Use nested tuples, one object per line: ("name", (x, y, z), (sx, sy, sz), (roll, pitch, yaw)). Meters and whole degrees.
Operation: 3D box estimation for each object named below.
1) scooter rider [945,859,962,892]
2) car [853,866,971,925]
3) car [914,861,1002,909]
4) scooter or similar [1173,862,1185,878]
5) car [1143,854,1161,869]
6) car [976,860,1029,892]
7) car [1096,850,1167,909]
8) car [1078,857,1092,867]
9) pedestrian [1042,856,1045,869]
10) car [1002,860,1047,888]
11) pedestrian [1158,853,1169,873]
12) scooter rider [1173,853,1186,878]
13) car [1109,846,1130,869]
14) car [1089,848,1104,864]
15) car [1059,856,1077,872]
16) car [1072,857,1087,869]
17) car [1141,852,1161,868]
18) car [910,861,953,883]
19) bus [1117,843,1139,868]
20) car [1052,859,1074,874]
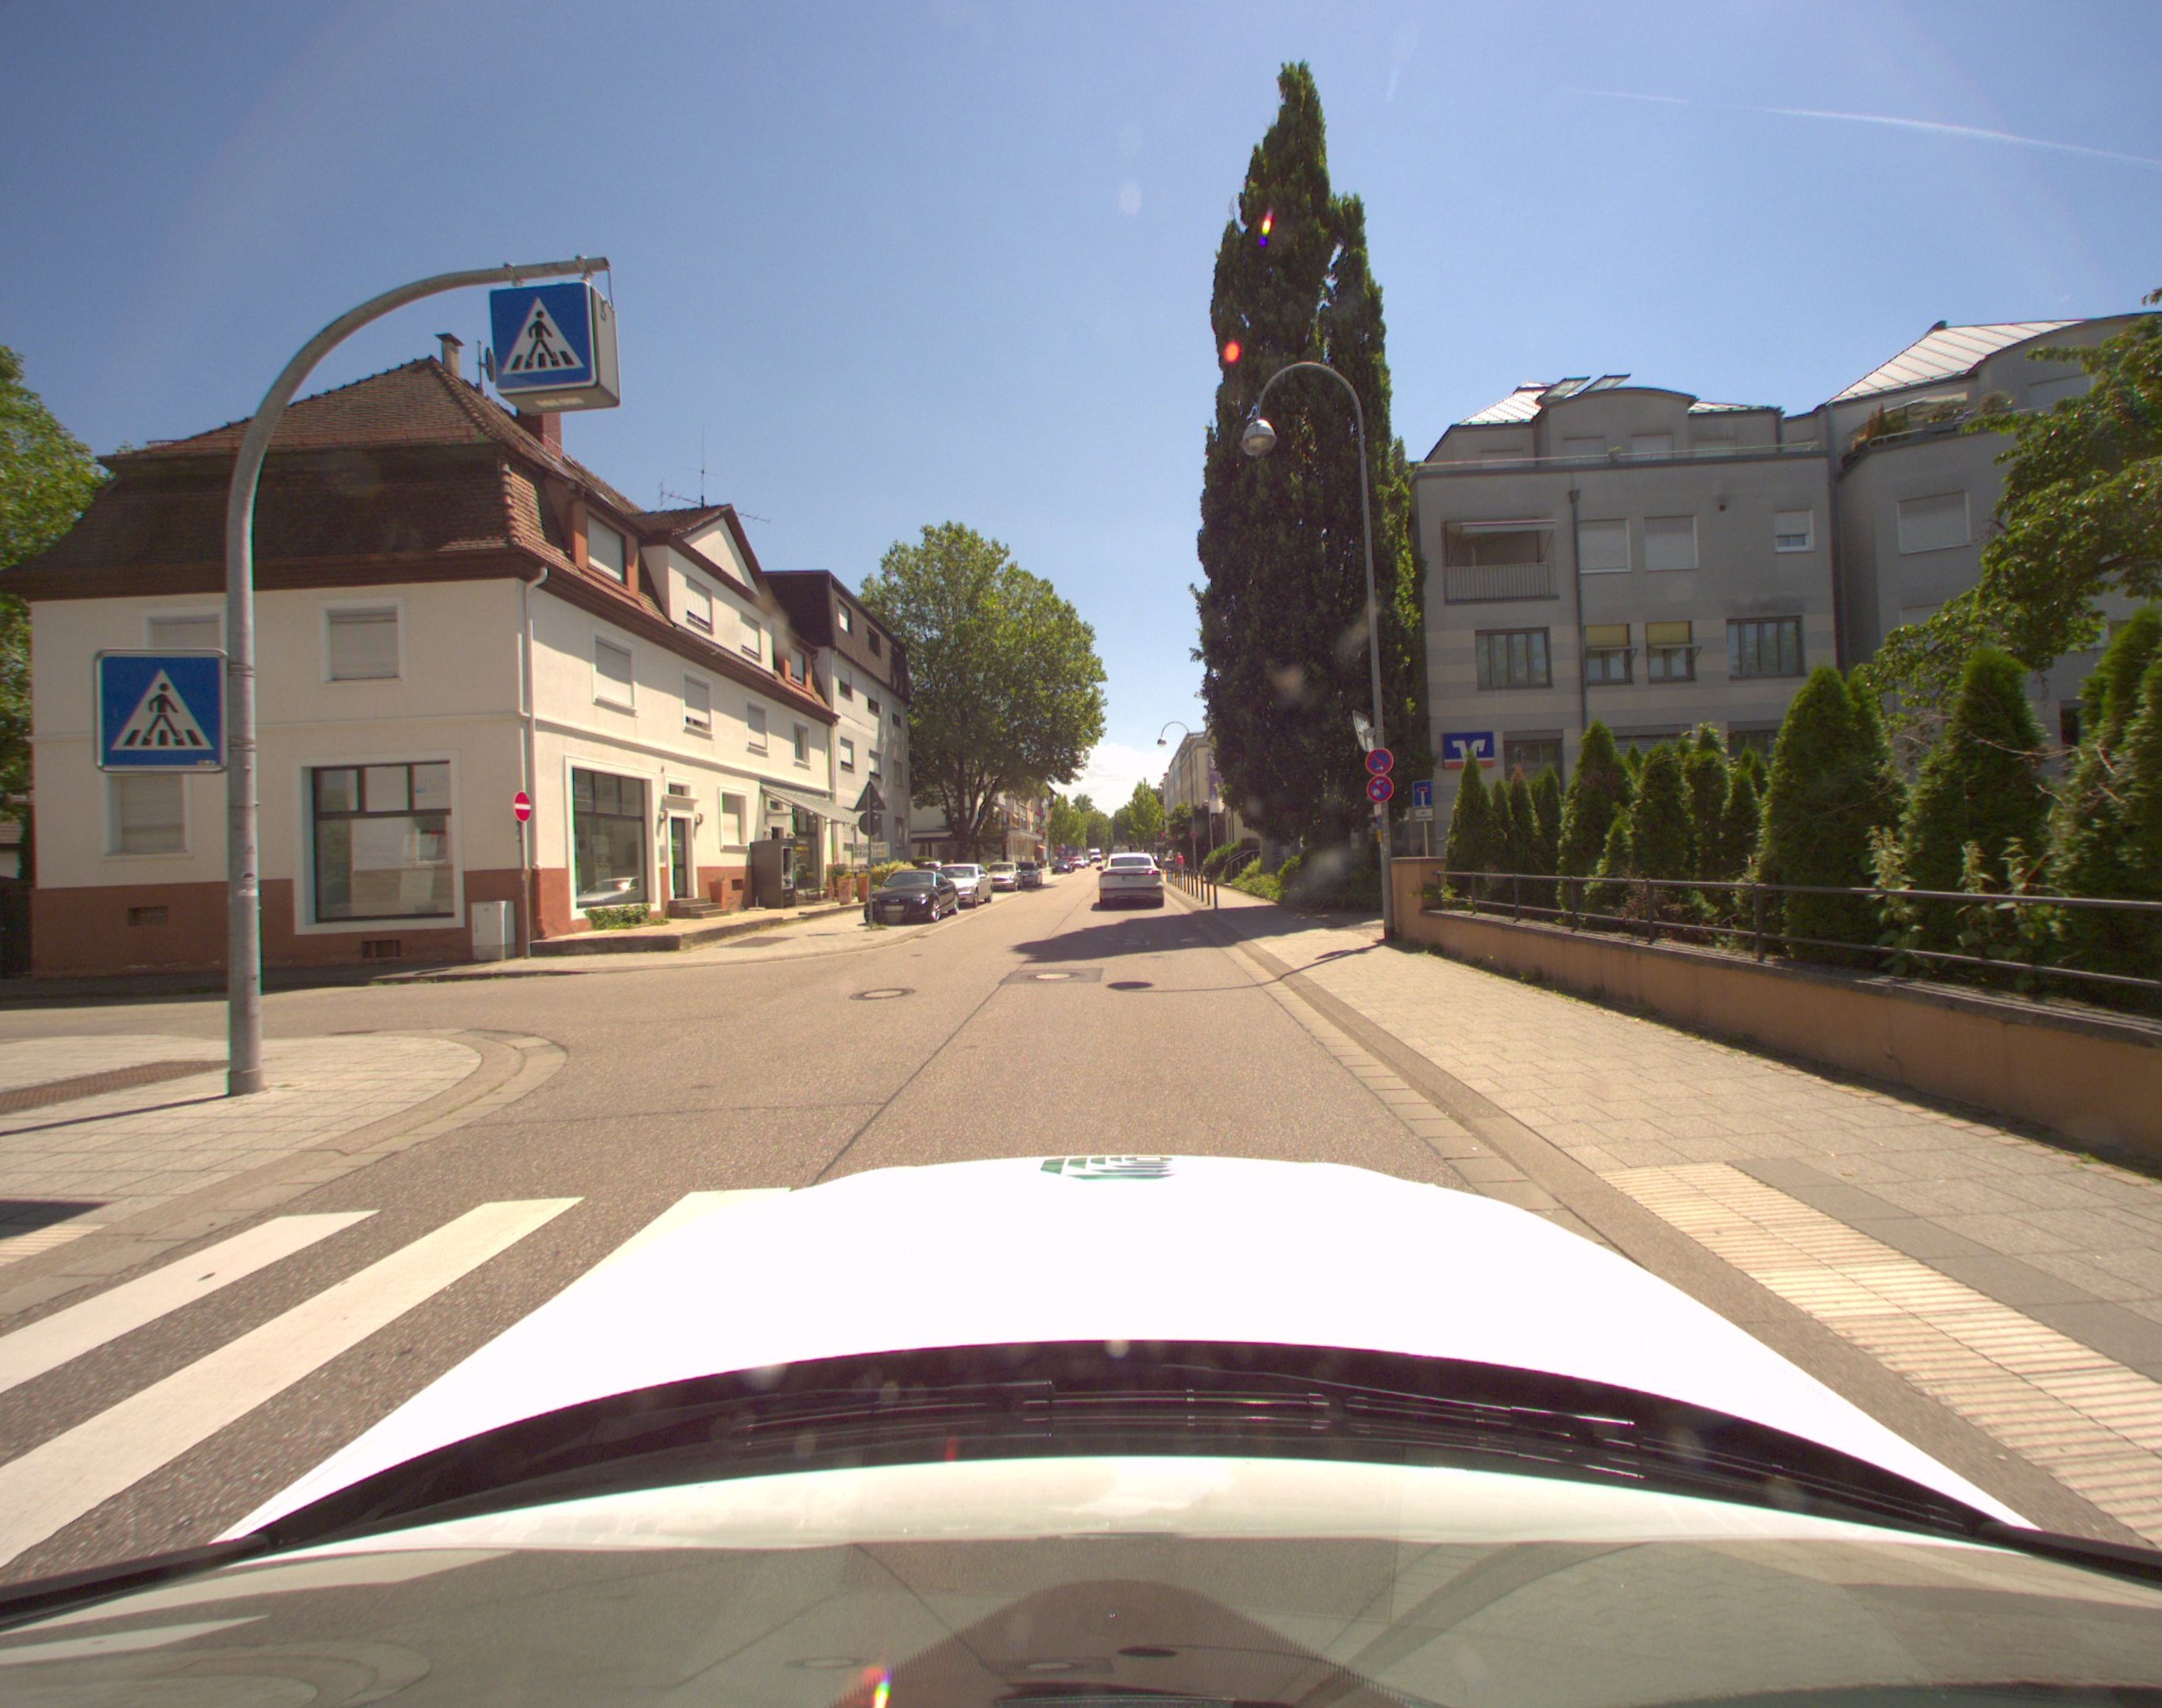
("scooter rider", (-6.048, 1.015, 38.692), (0.586, 1.575, 0.878), (0, 0, 4))
("car", (-4.572, 1.074, 22.919), (1.934, 1.373, 5.102), (-2, 0, 3))
("car", (-4.234, 1.033, 28.985), (1.972, 1.452, 5.362), (-1, 0, 3))
("scooter or similar", (6.383, 1.039, 53.080), (0.660, 0.963, 0.754), (-3, 0, 3))
("car", (7.718, 0.786, 88.484), (1.887, 1.438, 4.550), (-2, 0, 4))
("car", (-3.858, 1.039, 40.711), (1.973, 1.452, 4.870), (-1, 0, 2))
("car", (1.506, 0.737, 25.254), (1.986, 1.633, 4.001), (-1, 0, 2))
("car", (0.634, 1.130, 122.277), (1.744, 1.453, 4.406), (0, 0, 5))
("pedestrian", (-5.010, 1.165, 108.880), (0.394, 1.735, 0.444), (-2, -1, -8))
("car", (-3.168, 1.079, 46.588), (1.973, 1.452, 5.153), (-1, 0, 2))
("pedestrian", (6.849, 0.735, 67.741), (0.697, 1.626, 0.784), (-5, -1, 1))
("scooter rider", (6.340, 0.760, 52.488), (0.713, 1.548, 0.770), (-3, 0, 1))
("car", (4.238, 0.397, 89.438), (2.147, 2.442, 5.287), (0, -1, 3))
("car", (2.795, 0.424, 149.481), (2.032, 2.630, 7.097), (-4, 0, -4))
("car", (-1.402, 1.047, 88.129), (1.745, 1.702, 4.104), (0, 0, 2))
("car", (-0.225, 1.165, 111.428), (1.745, 1.618, 4.405), (0, 0, 4))
("car", (8.070, 0.710, 94.621), (1.890, 1.674, 4.690), (-4, 0, 0))
("car", (-10.803, 1.283, 58.550), (1.902, 1.486, 3.959), (-2, 0, -28))
("bus", (6.464, 0.259, 110.955), (2.648, 3.221, 7.312), (0, -1, 5))
("car", (-1.763, 1.251, 81.658), (1.888, 1.417, 5.050), (0, 0, 2))
